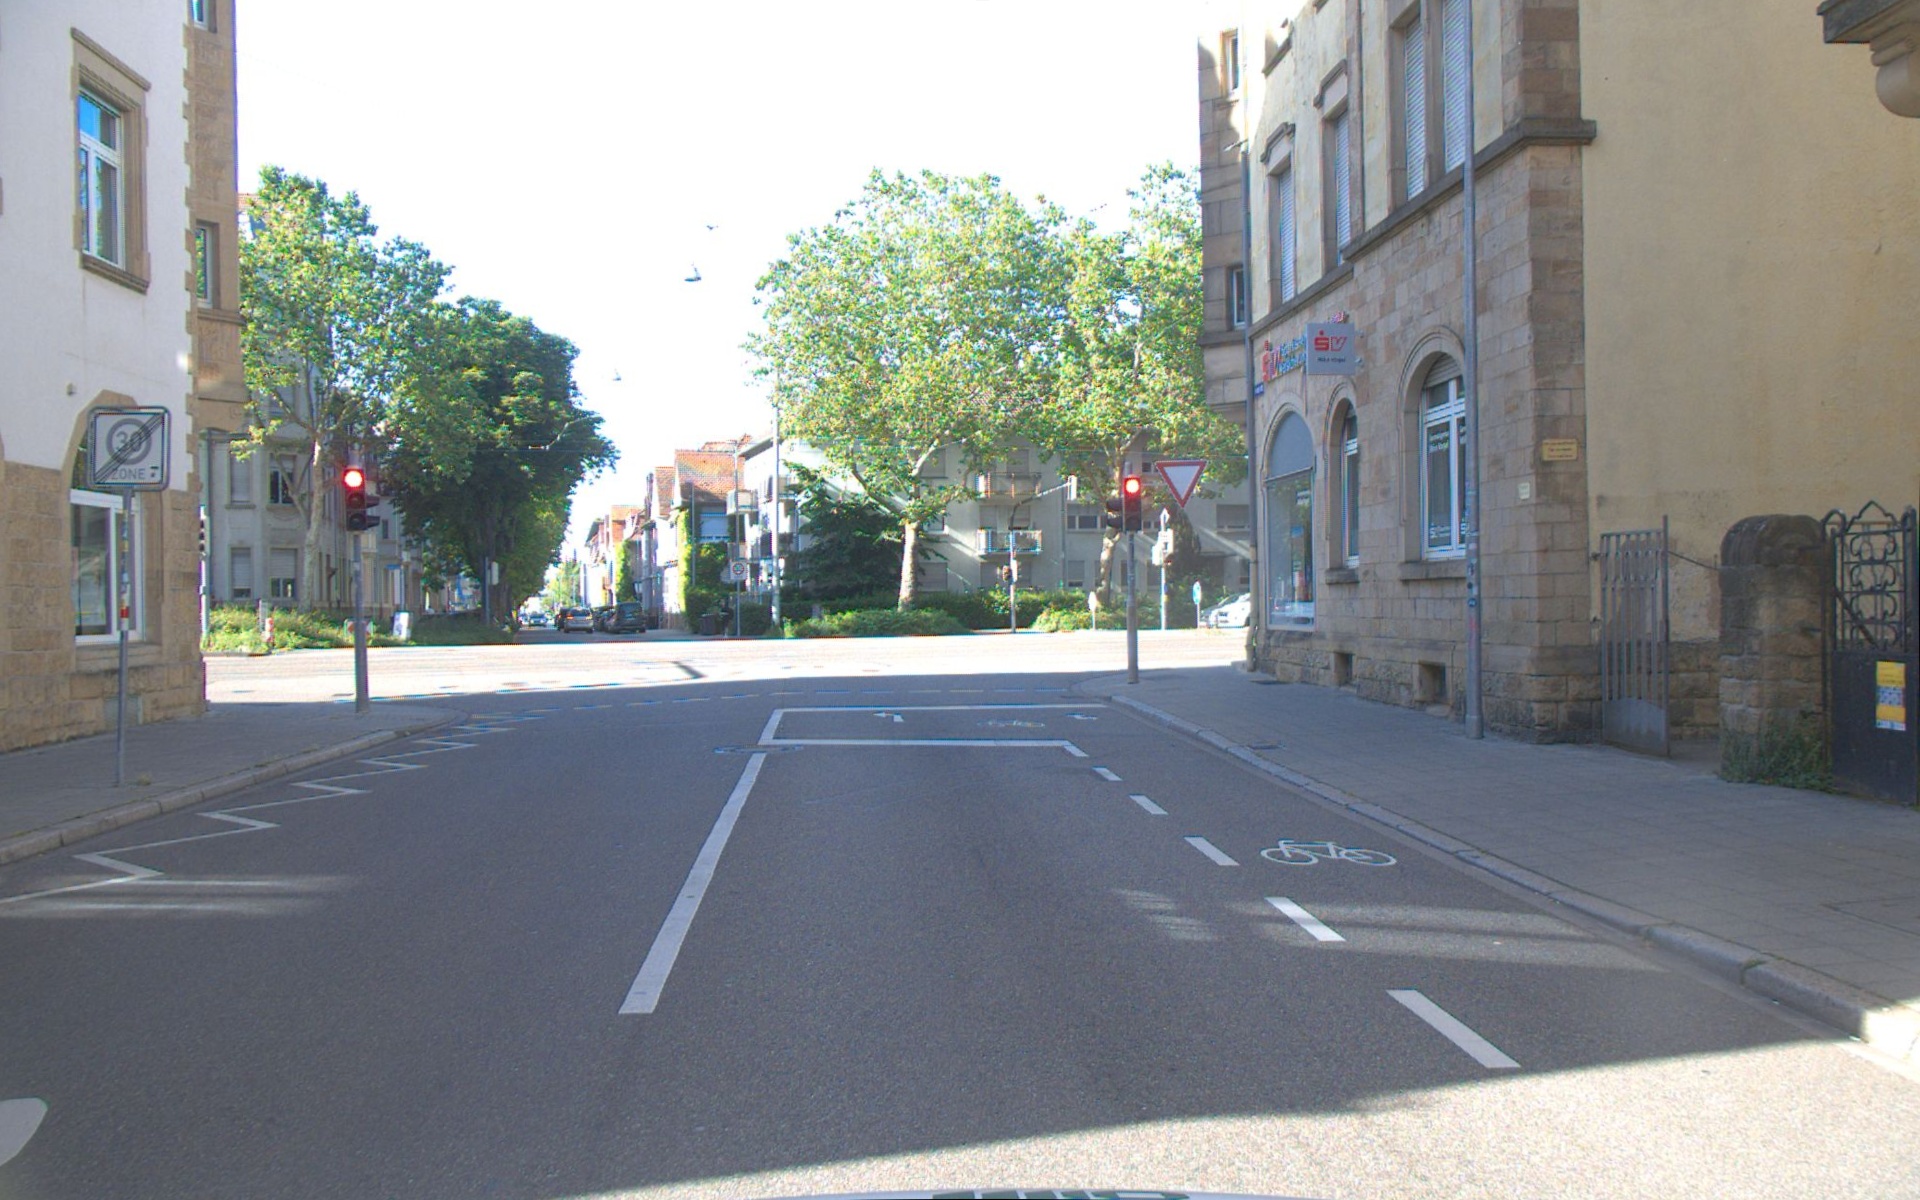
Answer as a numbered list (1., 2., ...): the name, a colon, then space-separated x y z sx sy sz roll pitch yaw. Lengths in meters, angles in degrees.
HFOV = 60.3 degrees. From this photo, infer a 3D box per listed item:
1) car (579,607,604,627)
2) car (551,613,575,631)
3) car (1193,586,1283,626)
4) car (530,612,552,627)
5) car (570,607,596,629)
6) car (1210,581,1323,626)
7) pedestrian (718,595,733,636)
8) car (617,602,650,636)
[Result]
1. car: -34.847 1.625 156.203 1.963 1.865 3.979 0 -1 -18
2. car: -32.181 1.742 133.953 1.709 1.360 3.817 -1 1 -16
3. car: 11.189 0.217 66.553 3.336 1.513 1.513 -2 0 -25
4. car: -42.837 1.987 169.140 1.962 1.471 3.982 -1 0 -17
5. car: -25.950 1.247 113.756 1.646 1.508 3.509 0 -1 -14
6. car: 11.071 0.118 59.768 3.735 1.498 1.619 -2 0 -23
7. pedestrian: -10.251 0.693 72.355 0.621 1.780 0.658 0 -1 -7
8. car: -21.033 1.207 106.407 1.959 2.049 3.988 -1 0 -12
